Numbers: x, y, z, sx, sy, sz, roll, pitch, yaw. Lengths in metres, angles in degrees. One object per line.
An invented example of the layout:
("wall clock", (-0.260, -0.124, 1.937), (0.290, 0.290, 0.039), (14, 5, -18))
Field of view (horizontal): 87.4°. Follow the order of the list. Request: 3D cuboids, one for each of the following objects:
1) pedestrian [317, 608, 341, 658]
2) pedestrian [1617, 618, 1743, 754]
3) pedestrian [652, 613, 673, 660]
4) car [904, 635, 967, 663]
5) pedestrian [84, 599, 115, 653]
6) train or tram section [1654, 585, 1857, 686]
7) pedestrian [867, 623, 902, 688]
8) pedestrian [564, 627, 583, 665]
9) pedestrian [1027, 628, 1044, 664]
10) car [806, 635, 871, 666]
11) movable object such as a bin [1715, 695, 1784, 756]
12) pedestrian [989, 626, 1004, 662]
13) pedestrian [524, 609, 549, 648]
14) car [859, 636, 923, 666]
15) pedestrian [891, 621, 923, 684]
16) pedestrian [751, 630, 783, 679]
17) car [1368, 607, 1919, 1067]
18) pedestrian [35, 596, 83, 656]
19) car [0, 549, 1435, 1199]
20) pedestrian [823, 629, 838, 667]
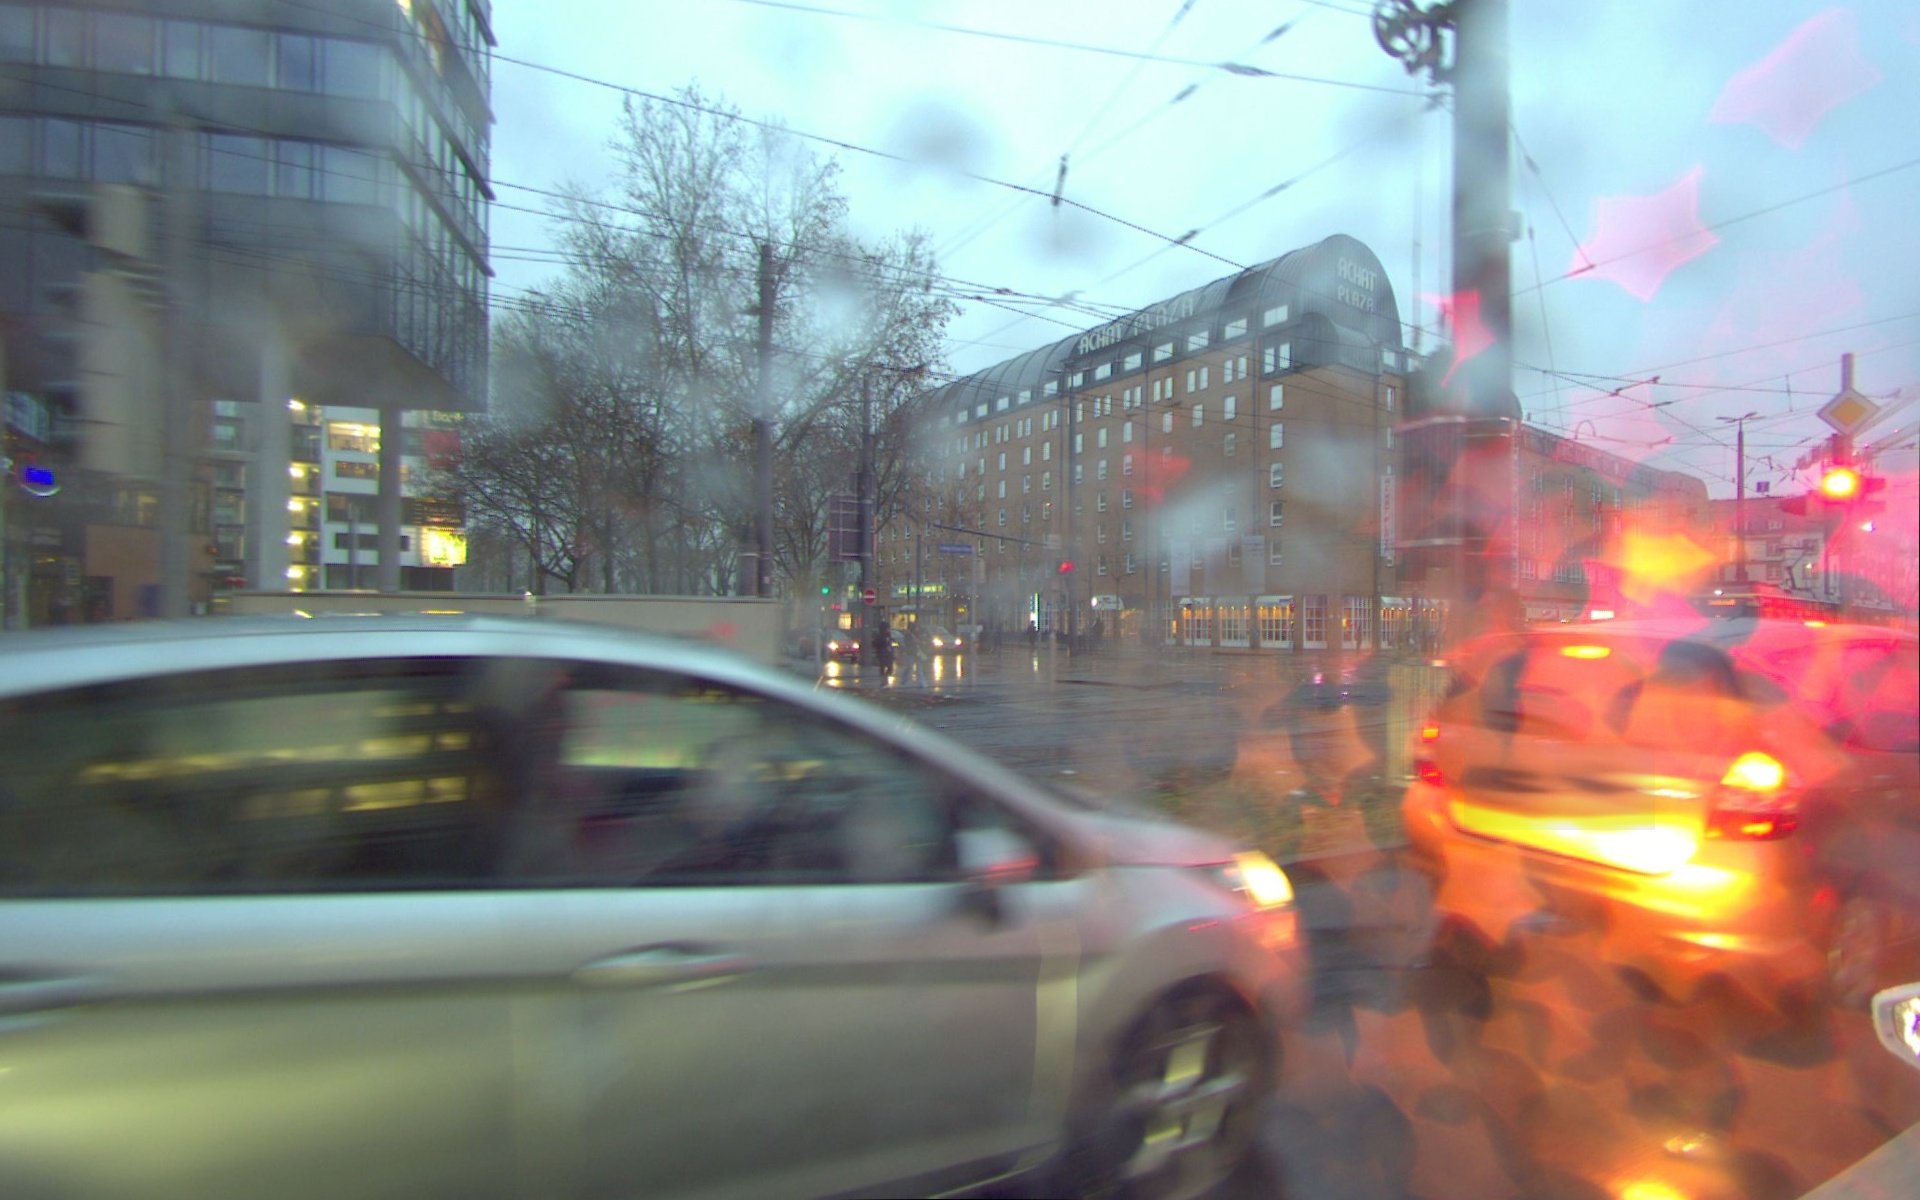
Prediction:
("pedestrian", (-22.693, 1.181, 36.133), (0.628, 1.797, 0.569), (1, -2, -24))
("pedestrian", (8.920, 1.055, 12.486), (1.016, 1.621, 0.716), (-1, -3, 12))
("pedestrian", (-12.025, 1.466, 40.570), (0.725, 1.888, 0.569), (1, -2, -24))
("car", (-1.400, 2.706, 55.653), (1.974, 1.446, 3.973), (1, -2, -26))
("pedestrian", (-28.801, 0.869, 33.633), (0.696, 1.775, 0.566), (1, -1, -33))
("train or tram section", (35.297, 1.548, 43.899), (19.902, 3.662, 2.841), (2, -2, -40))
("pedestrian", (-1.815, 1.321, 24.104), (0.640, 1.532, 0.556), (1, -1, -38))
("pedestrian", (-15.387, 1.833, 39.985), (0.675, 1.478, 0.569), (1, -2, -24))
("pedestrian", (3.815, 2.311, 50.703), (0.622, 1.781, 0.566), (-1, -2, 34))
("car", (-6.000, 2.443, 49.279), (1.974, 1.446, 3.973), (1, -2, -26))
("movable object such as a bin", (9.703, 1.534, 12.356), (0.527, 0.708, 0.413), (0, -3, 11))
("pedestrian", (1.833, 2.204, 50.296), (0.620, 1.781, 0.567), (0, -2, 24))
("pedestrian", (-19.833, 1.338, 47.034), (0.803, 1.783, 0.735), (0, -2, 13))
("car", (-3.611, 2.605, 51.934), (1.974, 1.446, 3.973), (1, -2, -26))
("pedestrian", (-1.310, 1.275, 24.641), (0.608, 1.532, 0.516), (1, -1, -35))
("pedestrian", (-6.097, 1.701, 31.699), (0.666, 1.519, 0.735), (-1, -1, 38))
("car", (3.930, 0.818, 4.916), (3.713, 1.478, 1.690), (1, -2, -30))
("pedestrian", (-26.966, 0.777, 30.073), (0.690, 1.775, 0.794), (0, -1, 18))
("car", (-0.770, 0.729, 2.599), (3.954, 1.466, 1.697), (2, -3, -31))
("pedestrian", (-5.966, 2.221, 46.245), (0.679, 1.728, 0.526), (1, -2, -6))
